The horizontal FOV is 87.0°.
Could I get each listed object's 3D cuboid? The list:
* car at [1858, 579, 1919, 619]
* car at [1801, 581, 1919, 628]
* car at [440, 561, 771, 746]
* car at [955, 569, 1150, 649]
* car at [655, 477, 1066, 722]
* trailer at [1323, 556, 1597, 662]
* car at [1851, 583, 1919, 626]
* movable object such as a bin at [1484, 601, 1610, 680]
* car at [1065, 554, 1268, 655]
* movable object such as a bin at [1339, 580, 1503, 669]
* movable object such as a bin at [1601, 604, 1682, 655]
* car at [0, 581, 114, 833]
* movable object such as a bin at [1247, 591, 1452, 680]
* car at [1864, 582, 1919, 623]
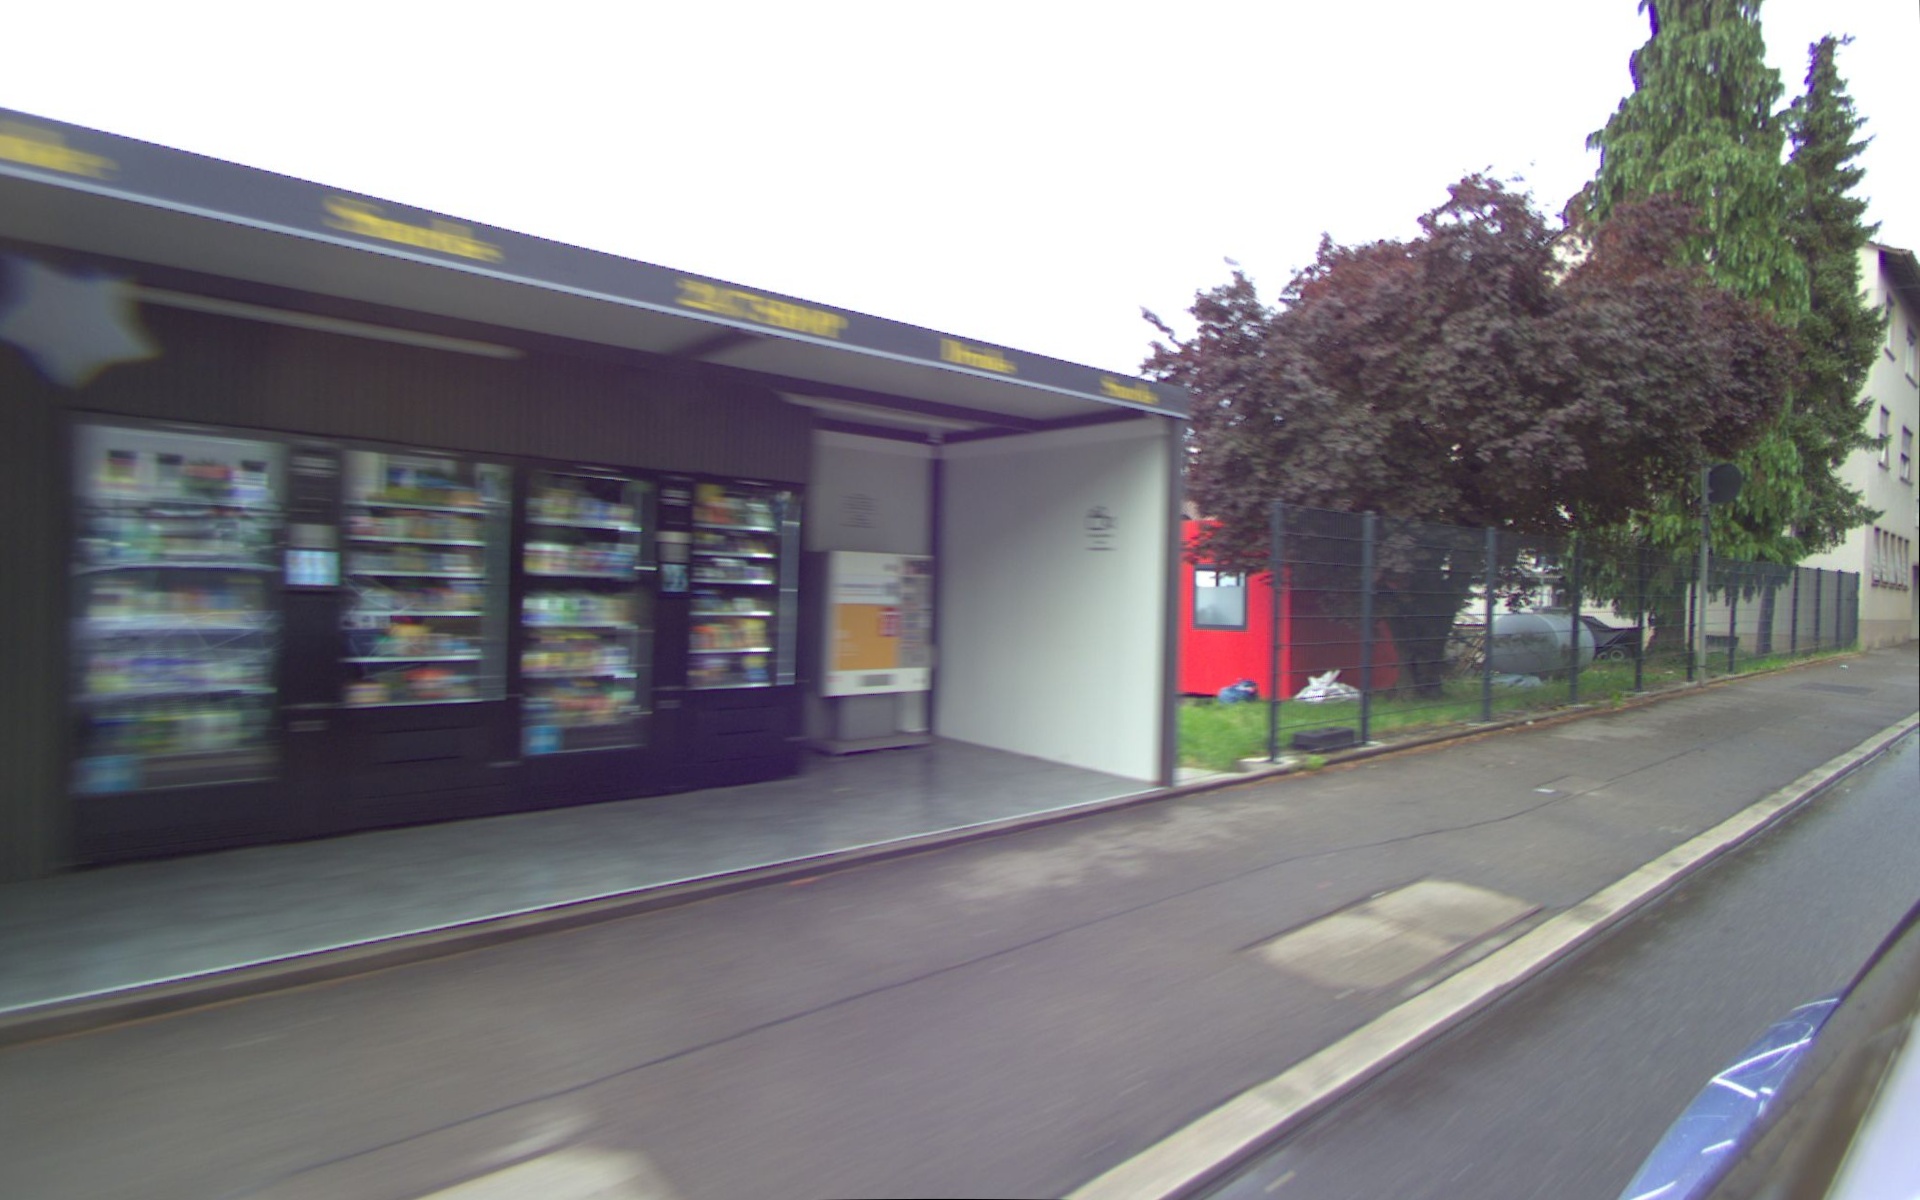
[{"bbox_3d":[44.138,-0.072,46.338,1.965,1.790,4.310,-2,1,-40],"label":"car"},{"bbox_3d":[36.259,0.145,40.121,1.837,1.758,4.236,-2,1,-40],"label":"car"},{"bbox_3d":[-3.909,0.375,10.679,1.763,1.550,4.385,-1,2,-42],"label":"car"},{"bbox_3d":[2.169,0.127,24.725,1.968,1.714,4.599,-2,3,-45],"label":"car"},{"bbox_3d":[-1.476,-0.052,12.012,1.965,2.238,5.576,0,1,-41],"label":"car"},{"bbox_3d":[11.595,0.163,23.842,2.011,2.214,5.429,-2,1,-41],"label":"trailer"},{"bbox_3d":[40.558,0.193,42.833,1.837,1.758,4.074,-2,1,-40],"label":"car"},{"bbox_3d":[10.826,0.691,18.613,1.370,1.337,2.814,0,0,44],"label":"movable object such as a bin"},{"bbox_3d":[5.083,0.001,25.500,1.966,2.298,4.830,-2,3,-41],"label":"car"},{"bbox_3d":[9.787,0.486,21.539,2.049,1.738,2.619,0,0,-43],"label":"movable object such as a bin"},{"bbox_3d":[16.609,0.733,24.663,1.196,1.196,1.330,1,-3,-41],"label":"movable object such as a bin"},{"bbox_3d":[-7.112,0.626,7.071,1.753,1.441,3.995,-2,1,-39],"label":"car"},{"bbox_3d":[7.664,0.638,20.059,1.860,1.597,3.333,0,0,-43],"label":"movable object such as a bin"},{"bbox_3d":[42.547,0.098,44.534,1.760,1.746,3.956,-1,1,-40],"label":"car"}]
